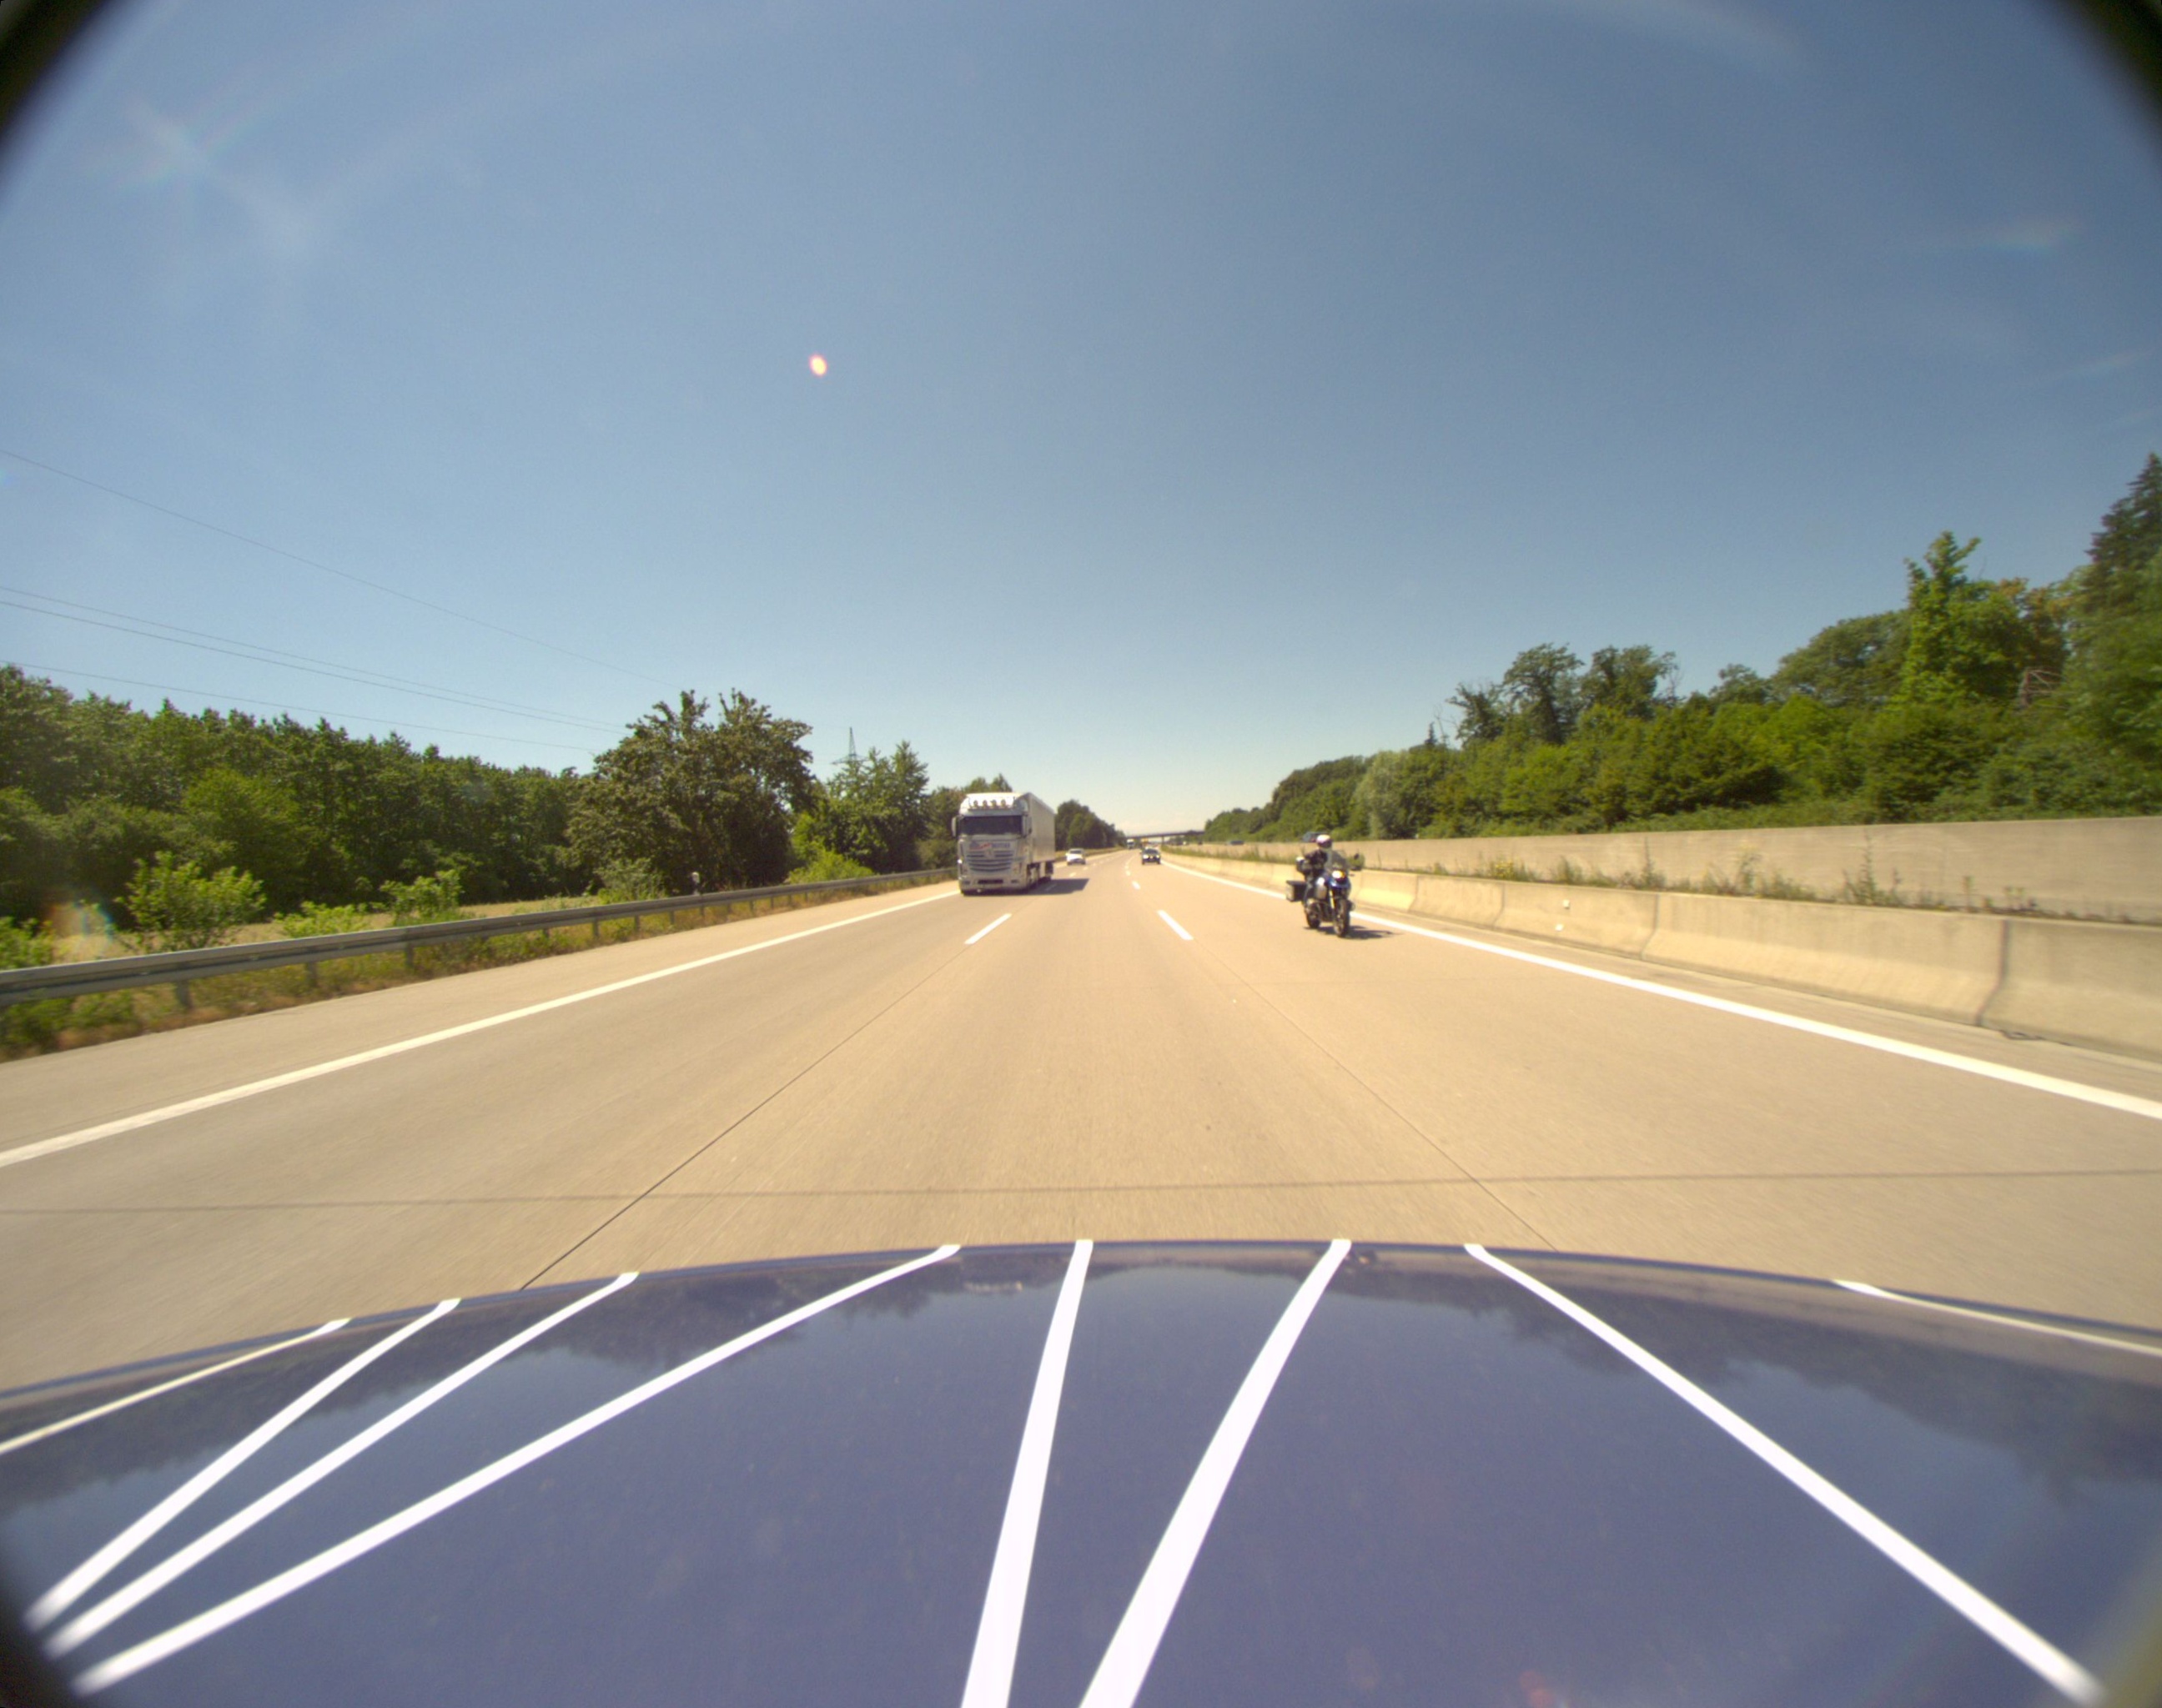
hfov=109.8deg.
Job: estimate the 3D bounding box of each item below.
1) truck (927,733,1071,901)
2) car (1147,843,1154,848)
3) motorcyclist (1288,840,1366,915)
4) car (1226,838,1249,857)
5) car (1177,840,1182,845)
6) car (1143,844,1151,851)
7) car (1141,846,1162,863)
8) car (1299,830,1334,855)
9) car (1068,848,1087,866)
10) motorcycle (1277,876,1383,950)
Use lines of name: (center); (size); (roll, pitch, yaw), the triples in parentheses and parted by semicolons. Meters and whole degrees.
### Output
truck: (-3.098, -1.364, 36.652); (3.586, 5.753, 18.249); (-5, 0, 3)
car: (19.400, -2.365, 211.162); (1.580, 1.565, 3.675); (-2, 1, 1)
motorcyclist: (4.189, 0.390, 13.019); (1.027, 1.202, 0.911); (-2, 0, 1)
car: (16.563, -0.712, 80.380); (1.663, 1.911, 4.007); (-3, 1, 2)
car: (34.335, -4.012, 265.527); (1.435, 2.002, 4.788); (-2, 1, 5)
car: (15.039, -1.519, 173.267); (1.586, 1.527, 3.613); (-5, 0, 6)
car: (7.171, 0.062, 76.738); (1.998, 1.518, 4.001); (-3, 0, 6)
car: (19.092, -0.937, 61.787); (1.663, 1.911, 4.138); (-3, 1, 2)
car: (-0.370, 0.329, 89.497); (1.883, 1.878, 5.280); (-5, 0, 3)
motorcycle: (4.206, 0.961, 13.091); (1.024, 1.042, 2.413); (-2, 0, 0)
